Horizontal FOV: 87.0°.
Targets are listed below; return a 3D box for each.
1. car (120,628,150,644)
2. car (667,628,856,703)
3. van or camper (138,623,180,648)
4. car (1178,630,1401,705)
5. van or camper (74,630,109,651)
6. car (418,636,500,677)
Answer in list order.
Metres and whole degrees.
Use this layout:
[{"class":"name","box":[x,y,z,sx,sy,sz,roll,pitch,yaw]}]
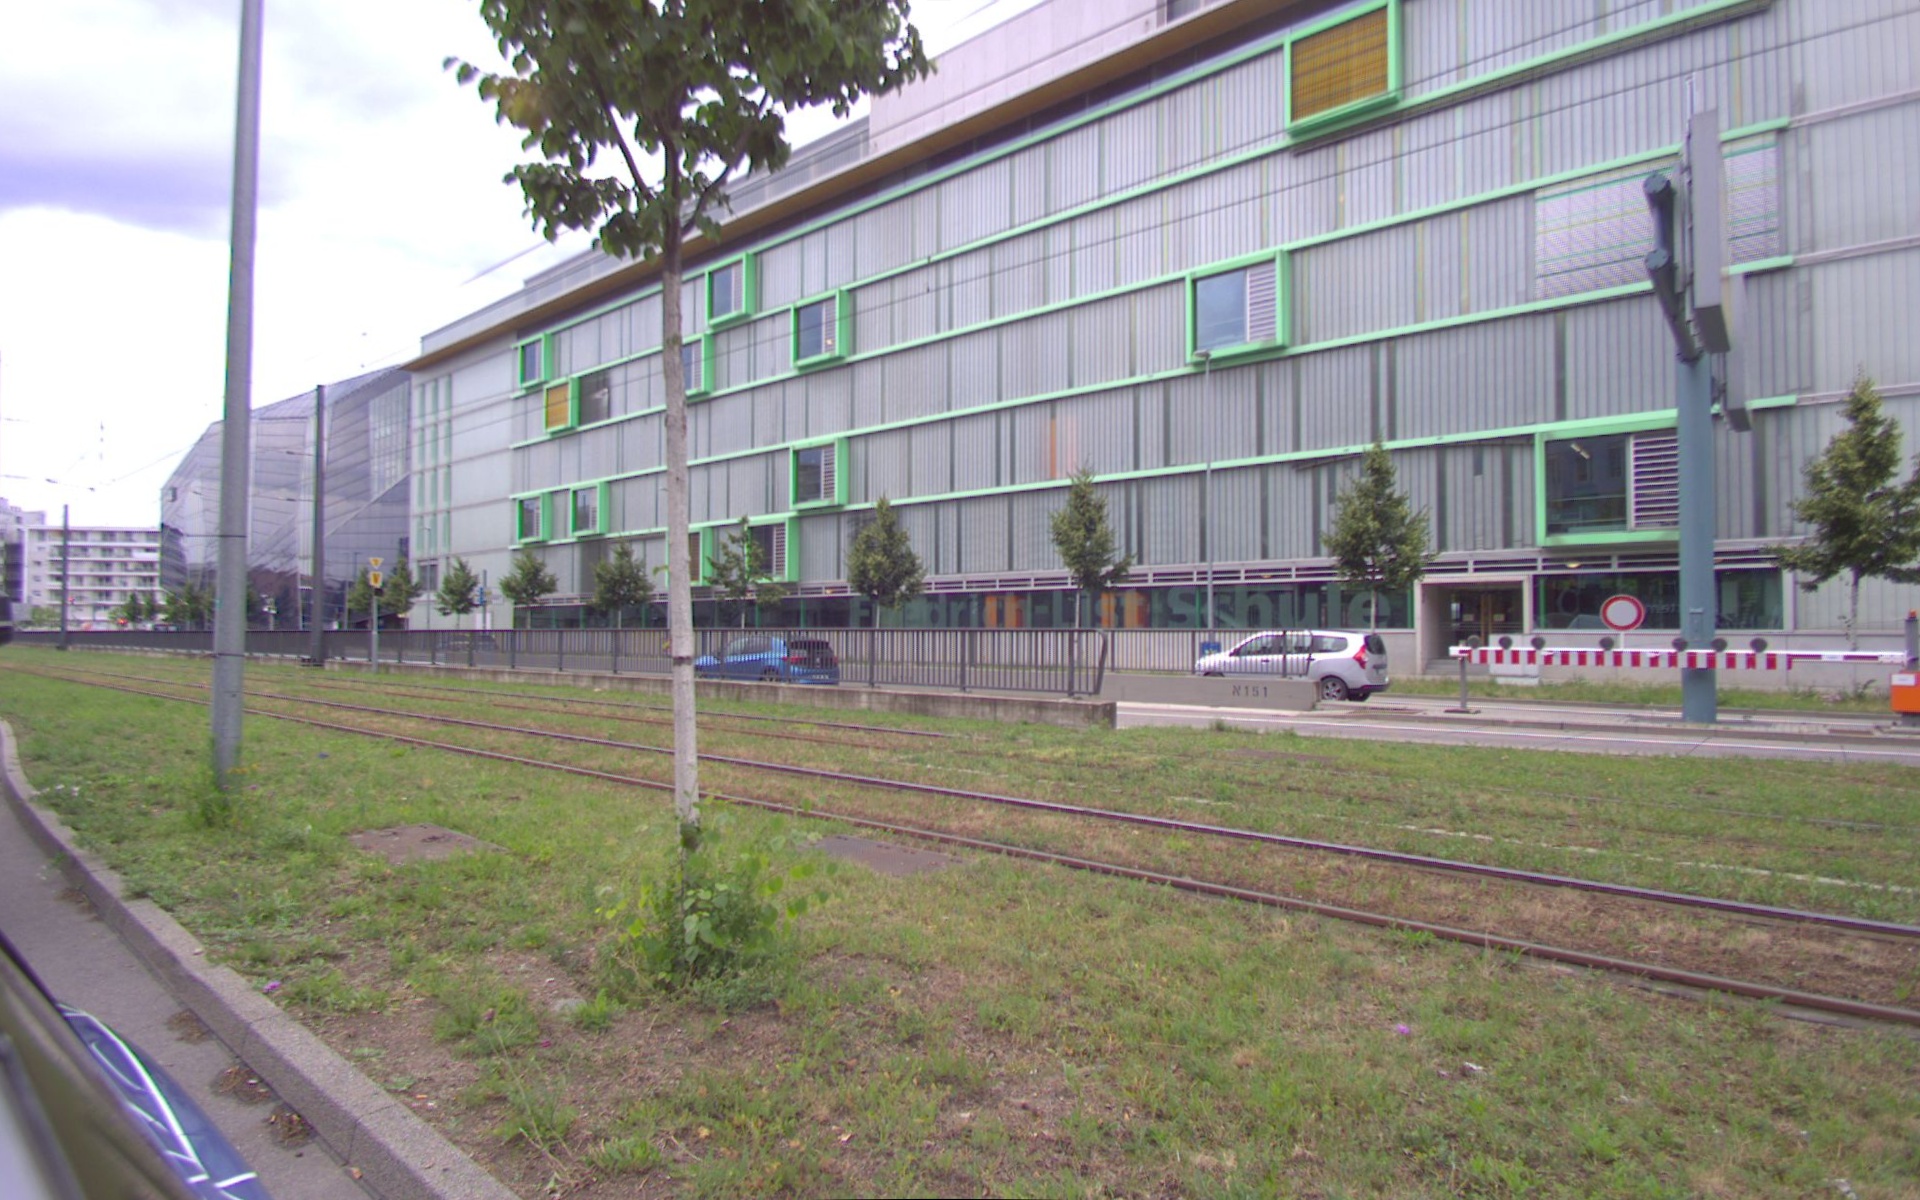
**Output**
[{"class":"car","box":[-92.750,4.089,113.724,4.766,1.605,1.972,-4,-4,43]},{"class":"car","box":[-4.828,1.489,24.247,4.685,1.600,1.944,-2,-2,40]},{"class":"van or camper","box":[-75.850,3.373,95.842,5.356,2.304,2.150,-2,-2,41]},{"class":"car","box":[7.544,1.487,23.450,4.576,1.583,1.778,-2,-2,41]},{"class":"van or camper","box":[-99.687,4.698,116.131,6.503,2.304,2.150,-2,-2,42]},{"class":"car","box":[-26.171,2.907,52.791,5.292,2.029,1.972,-2,-2,42]}]
